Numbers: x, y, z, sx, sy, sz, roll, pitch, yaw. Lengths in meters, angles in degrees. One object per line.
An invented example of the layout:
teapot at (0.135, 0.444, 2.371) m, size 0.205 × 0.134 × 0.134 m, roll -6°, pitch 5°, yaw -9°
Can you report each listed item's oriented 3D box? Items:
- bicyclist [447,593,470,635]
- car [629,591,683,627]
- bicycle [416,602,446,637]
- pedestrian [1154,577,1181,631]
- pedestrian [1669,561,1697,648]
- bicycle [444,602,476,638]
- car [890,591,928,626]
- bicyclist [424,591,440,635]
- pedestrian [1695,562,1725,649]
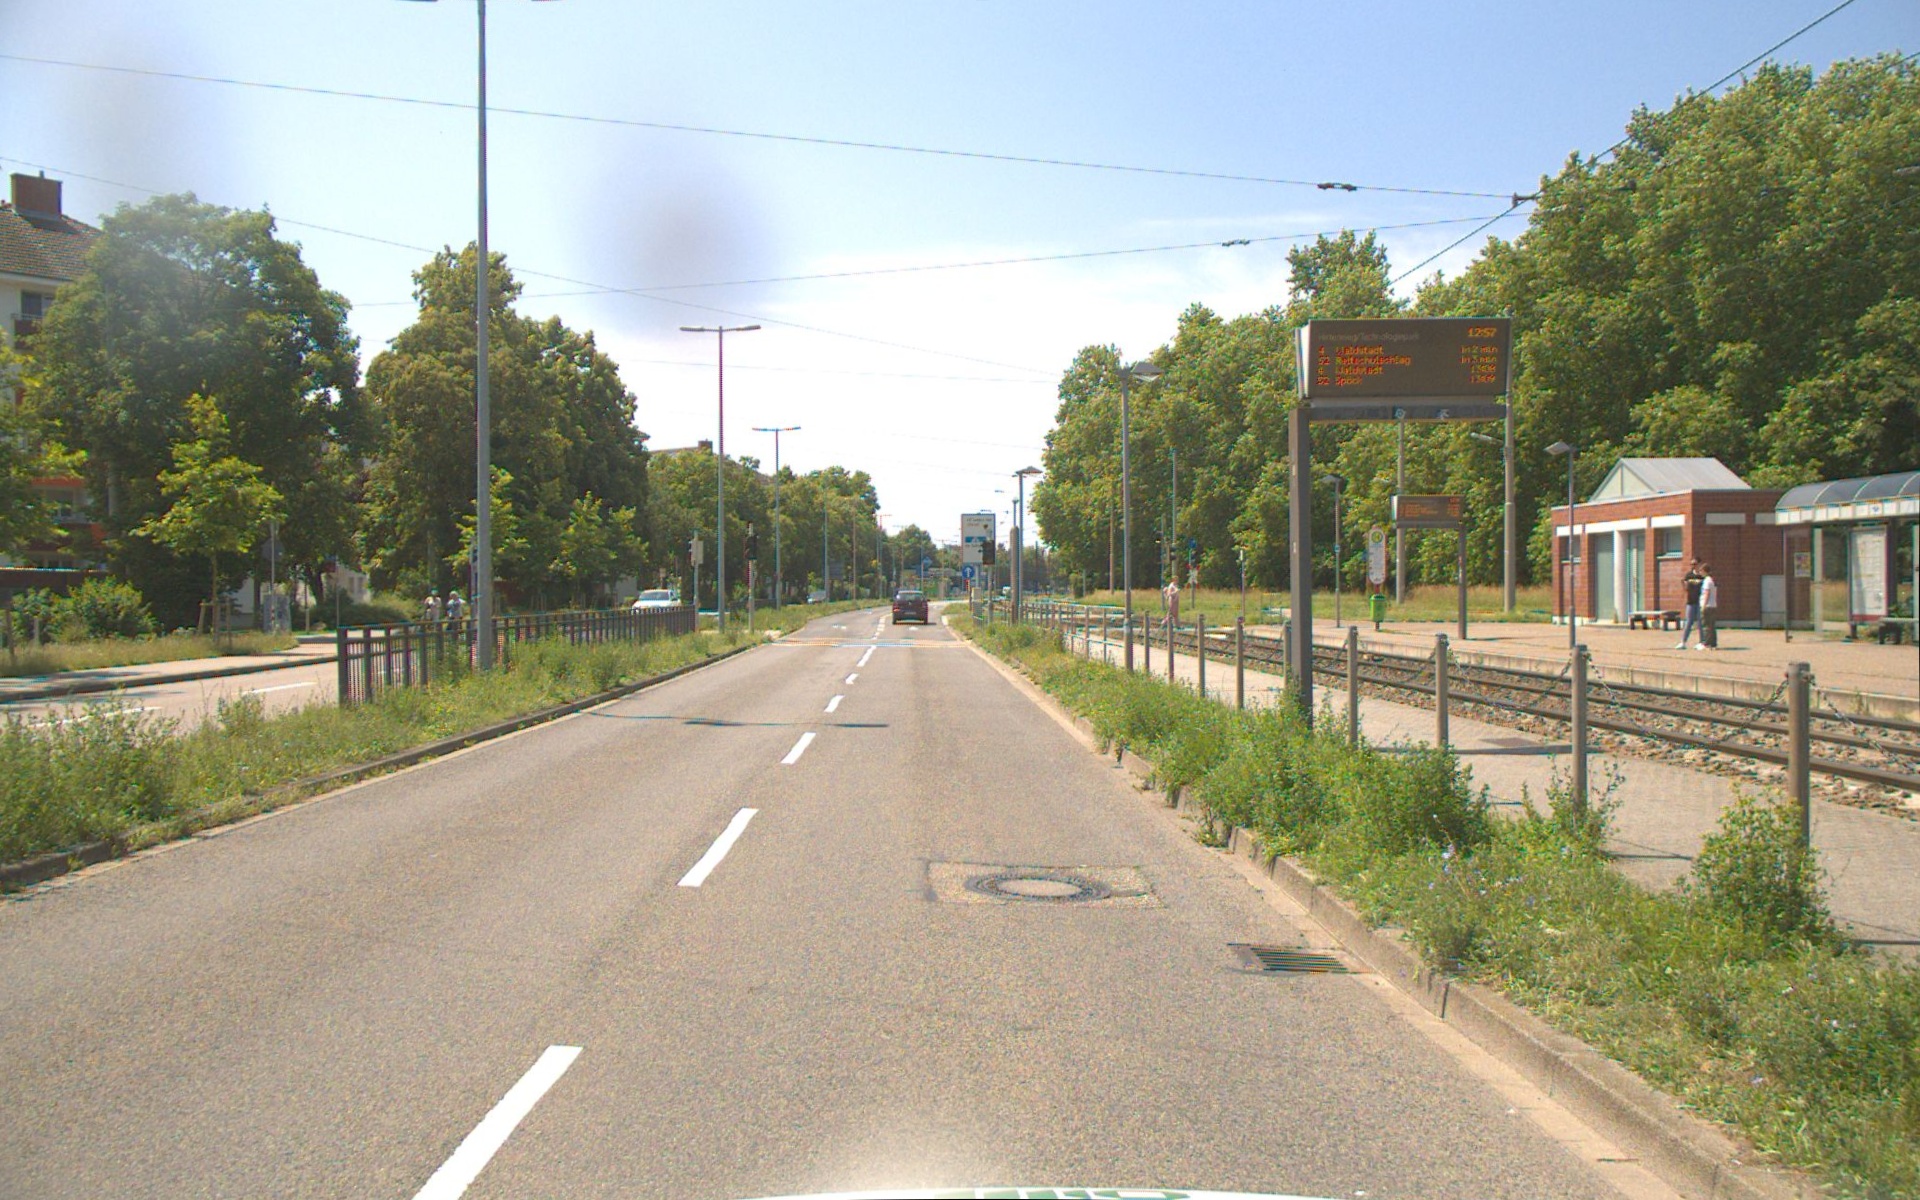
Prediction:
bicyclist at (-16.355, 0.450, 53.981) m, size 0.534 × 1.369 × 0.755 m, roll -1°, pitch 0°, yaw -3°
car at (-14.136, 0.410, 77.100) m, size 1.784 × 1.600 × 4.345 m, roll -1°, pitch 0°, yaw -2°
bicycle at (-17.243, 0.624, 53.915) m, size 0.542 × 1.113 × 1.379 m, roll 1°, pitch -1°, yaw 0°
pedestrian at (6.963, 0.151, 55.470) m, size 0.624 × 1.790 × 0.813 m, roll 1°, pitch -1°, yaw -15°
pedestrian at (14.030, 0.082, 32.107) m, size 0.353 × 1.675 × 0.445 m, roll 1°, pitch -1°, yaw 1°
bicycle at (-16.359, 0.651, 54.118) m, size 0.576 × 1.153 × 1.615 m, roll -1°, pitch 0°, yaw -1°
car at (-2.276, 0.377, 74.595) m, size 1.668 × 1.503 × 3.715 m, roll -1°, pitch 0°, yaw -1°
bicyclist at (-17.226, 0.409, 53.962) m, size 0.350 × 1.416 × 0.440 m, roll 1°, pitch 0°, yaw 1°
pedestrian at (14.206, 0.105, 31.339) m, size 0.353 × 1.624 × 0.483 m, roll 1°, pitch -1°, yaw 1°
